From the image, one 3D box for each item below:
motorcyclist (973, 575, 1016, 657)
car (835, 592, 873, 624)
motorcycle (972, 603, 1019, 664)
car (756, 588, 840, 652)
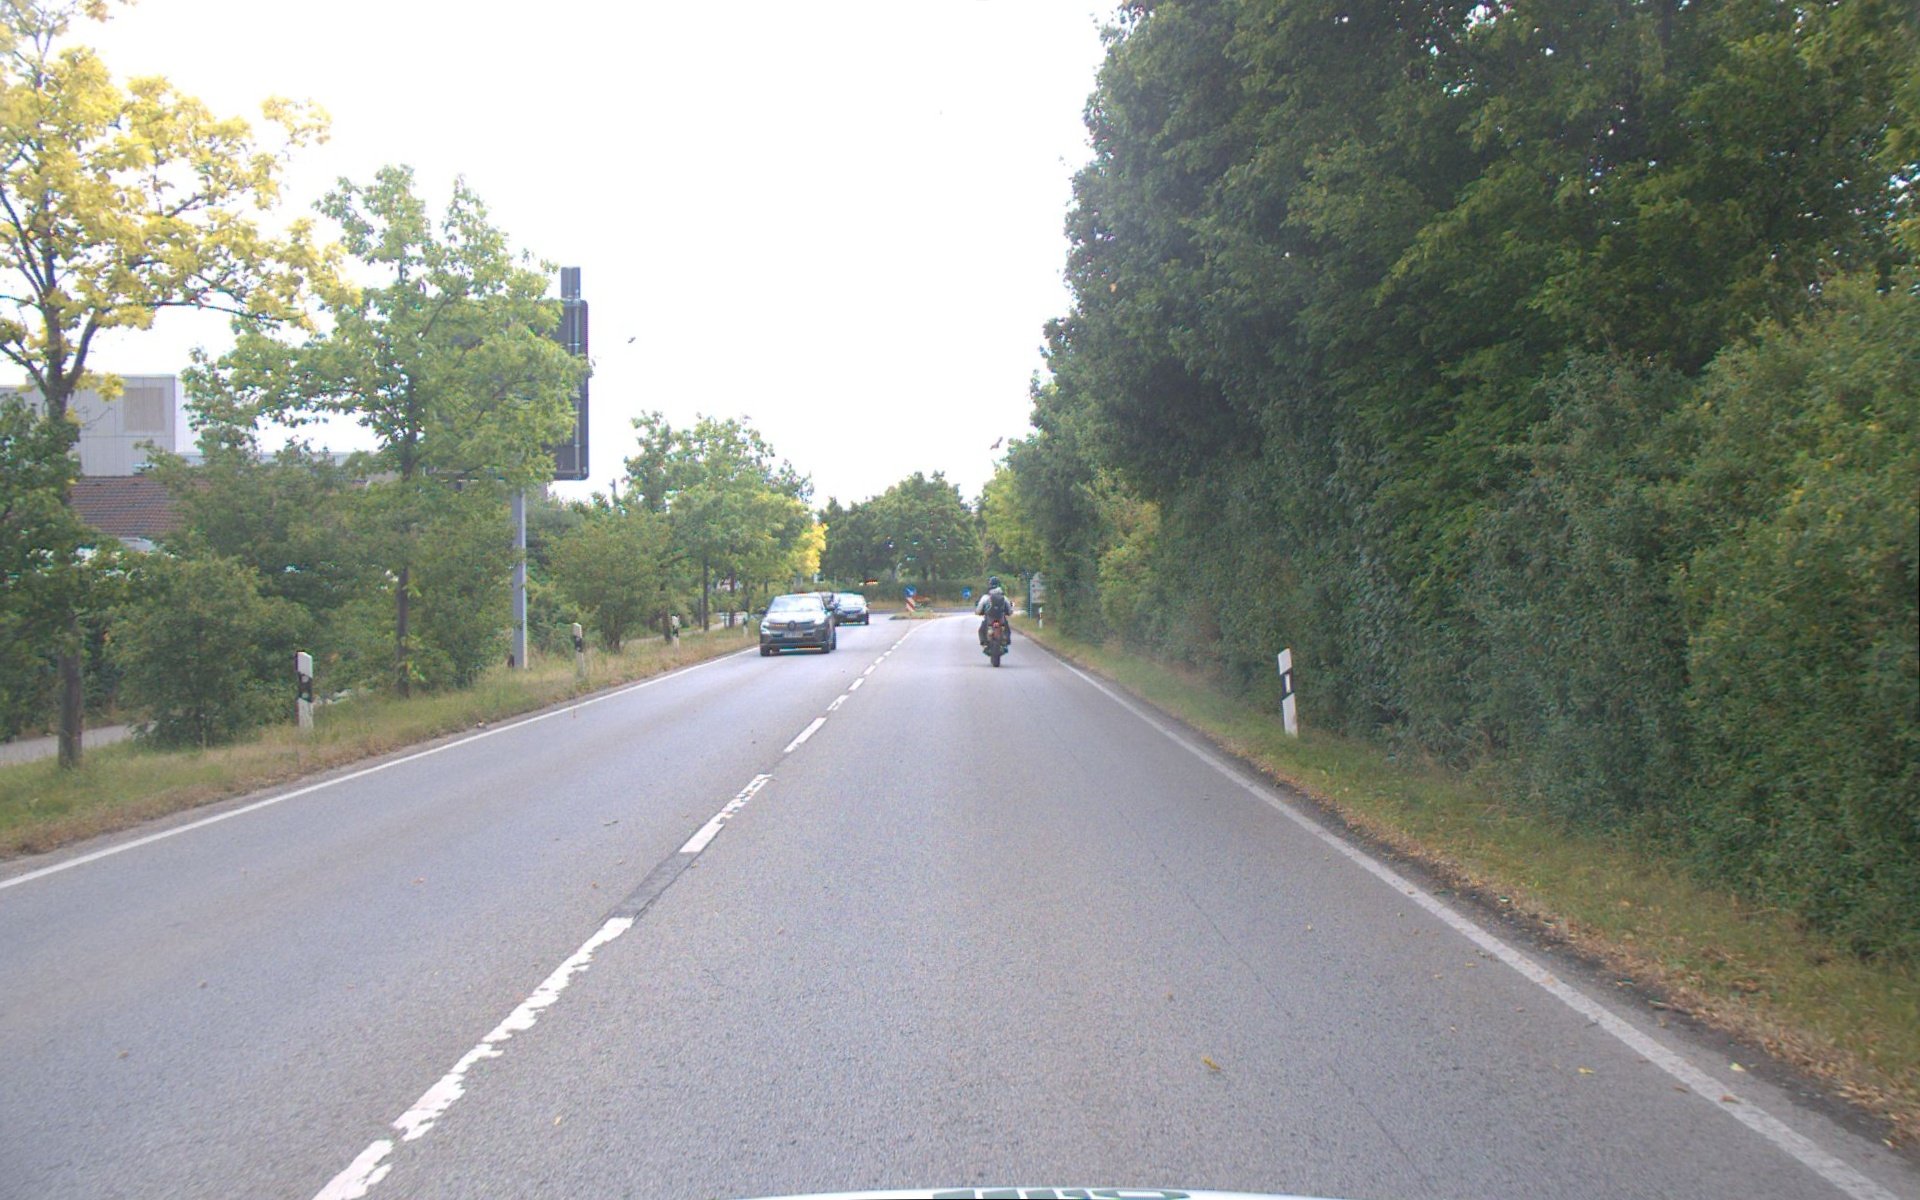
[{"bbox_3d":[0.706,0.319,34.268,0.844,1.652,1.190,-1,0,-1],"label":"motorcyclist"},{"bbox_3d":[-5.145,0.378,80.693,1.643,1.436,4.011,-3,0,-2],"label":"car"},{"bbox_3d":[0.720,0.667,34.252,0.878,1.178,2.620,-1,0,-1],"label":"motorcycle"},{"bbox_3d":[-4.159,0.480,43.087,1.779,1.520,4.203,-2,0,-1],"label":"car"}]
